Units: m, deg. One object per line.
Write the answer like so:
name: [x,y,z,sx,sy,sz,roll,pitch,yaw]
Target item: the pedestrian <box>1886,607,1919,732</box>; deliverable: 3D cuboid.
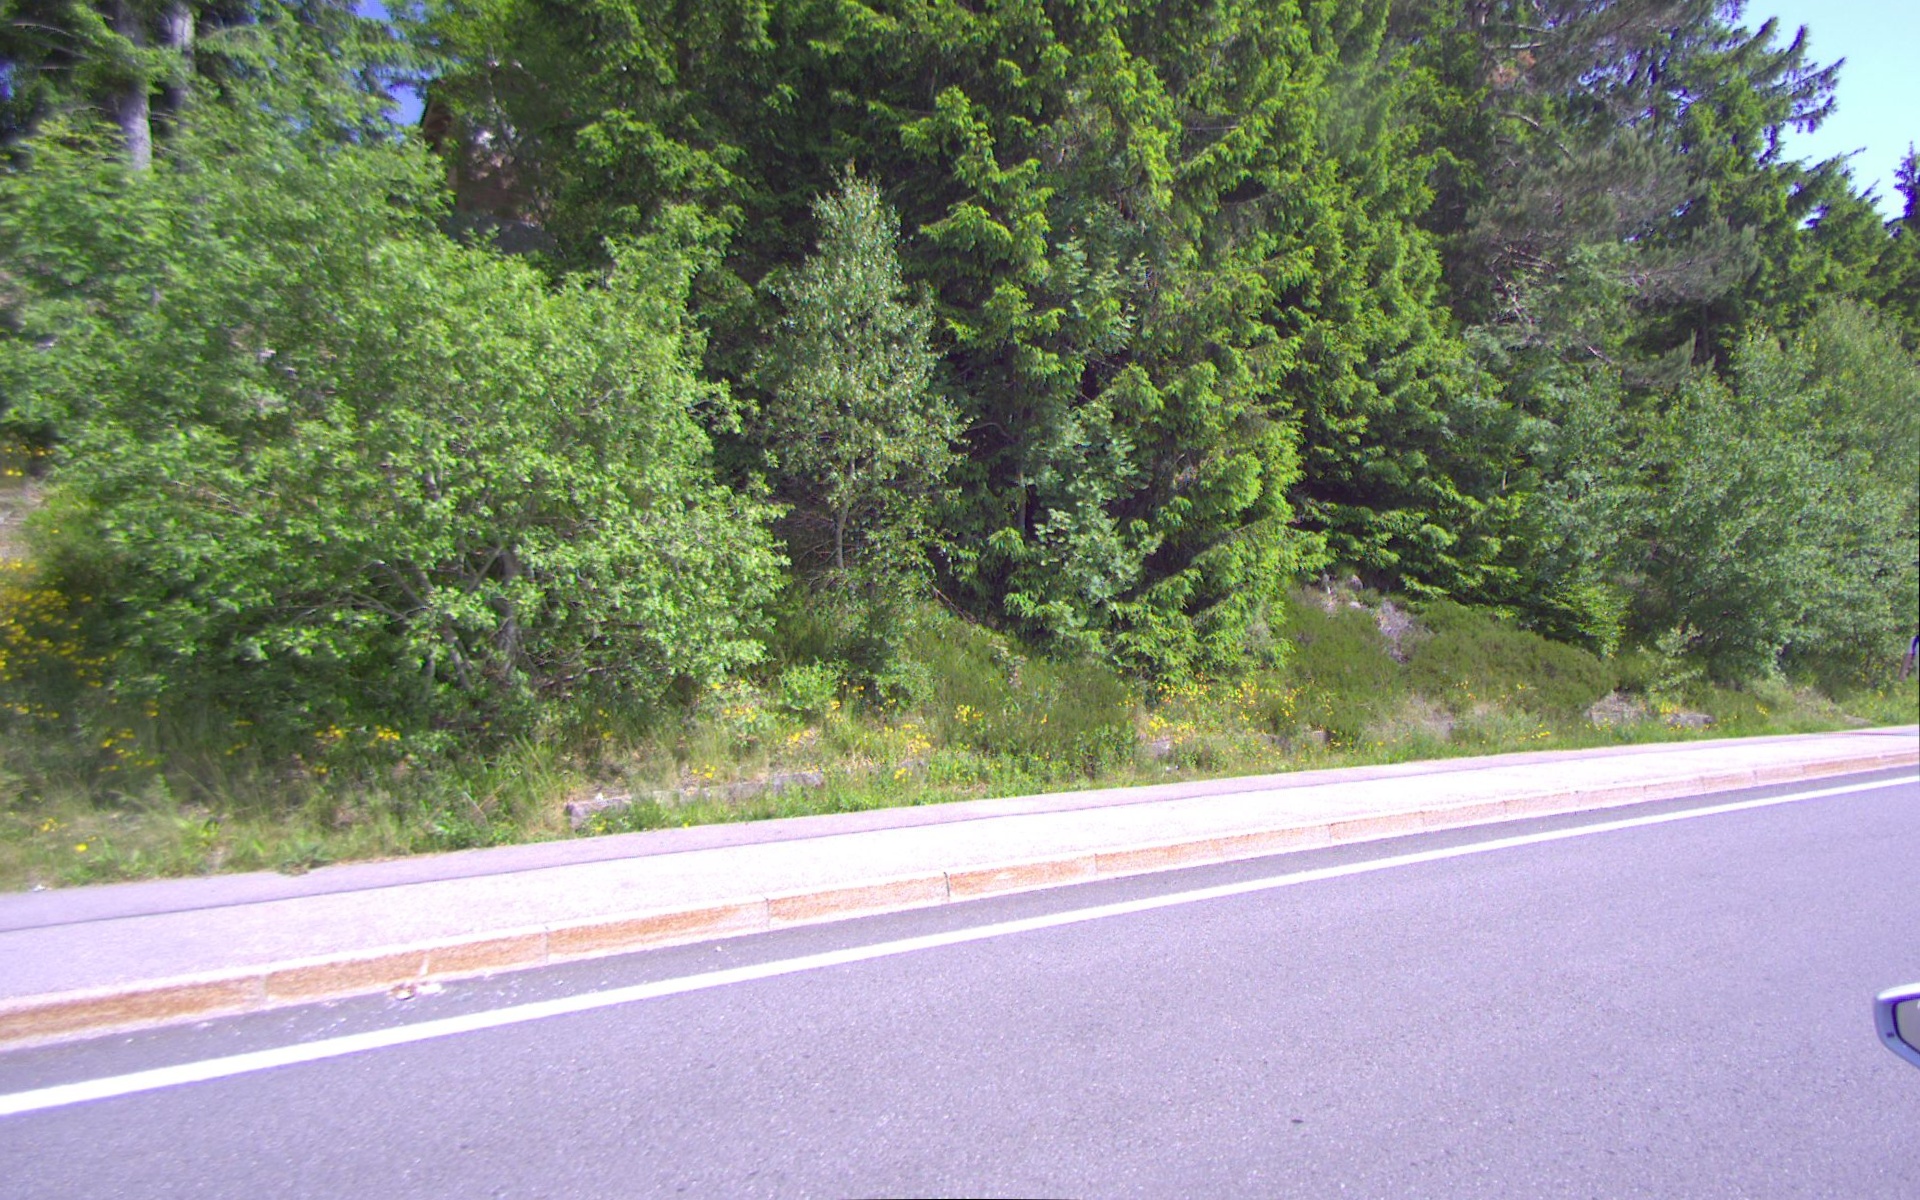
pedestrian: [13.940,0.997,14.476,0.816,1.769,0.679,1,-1,-32]
